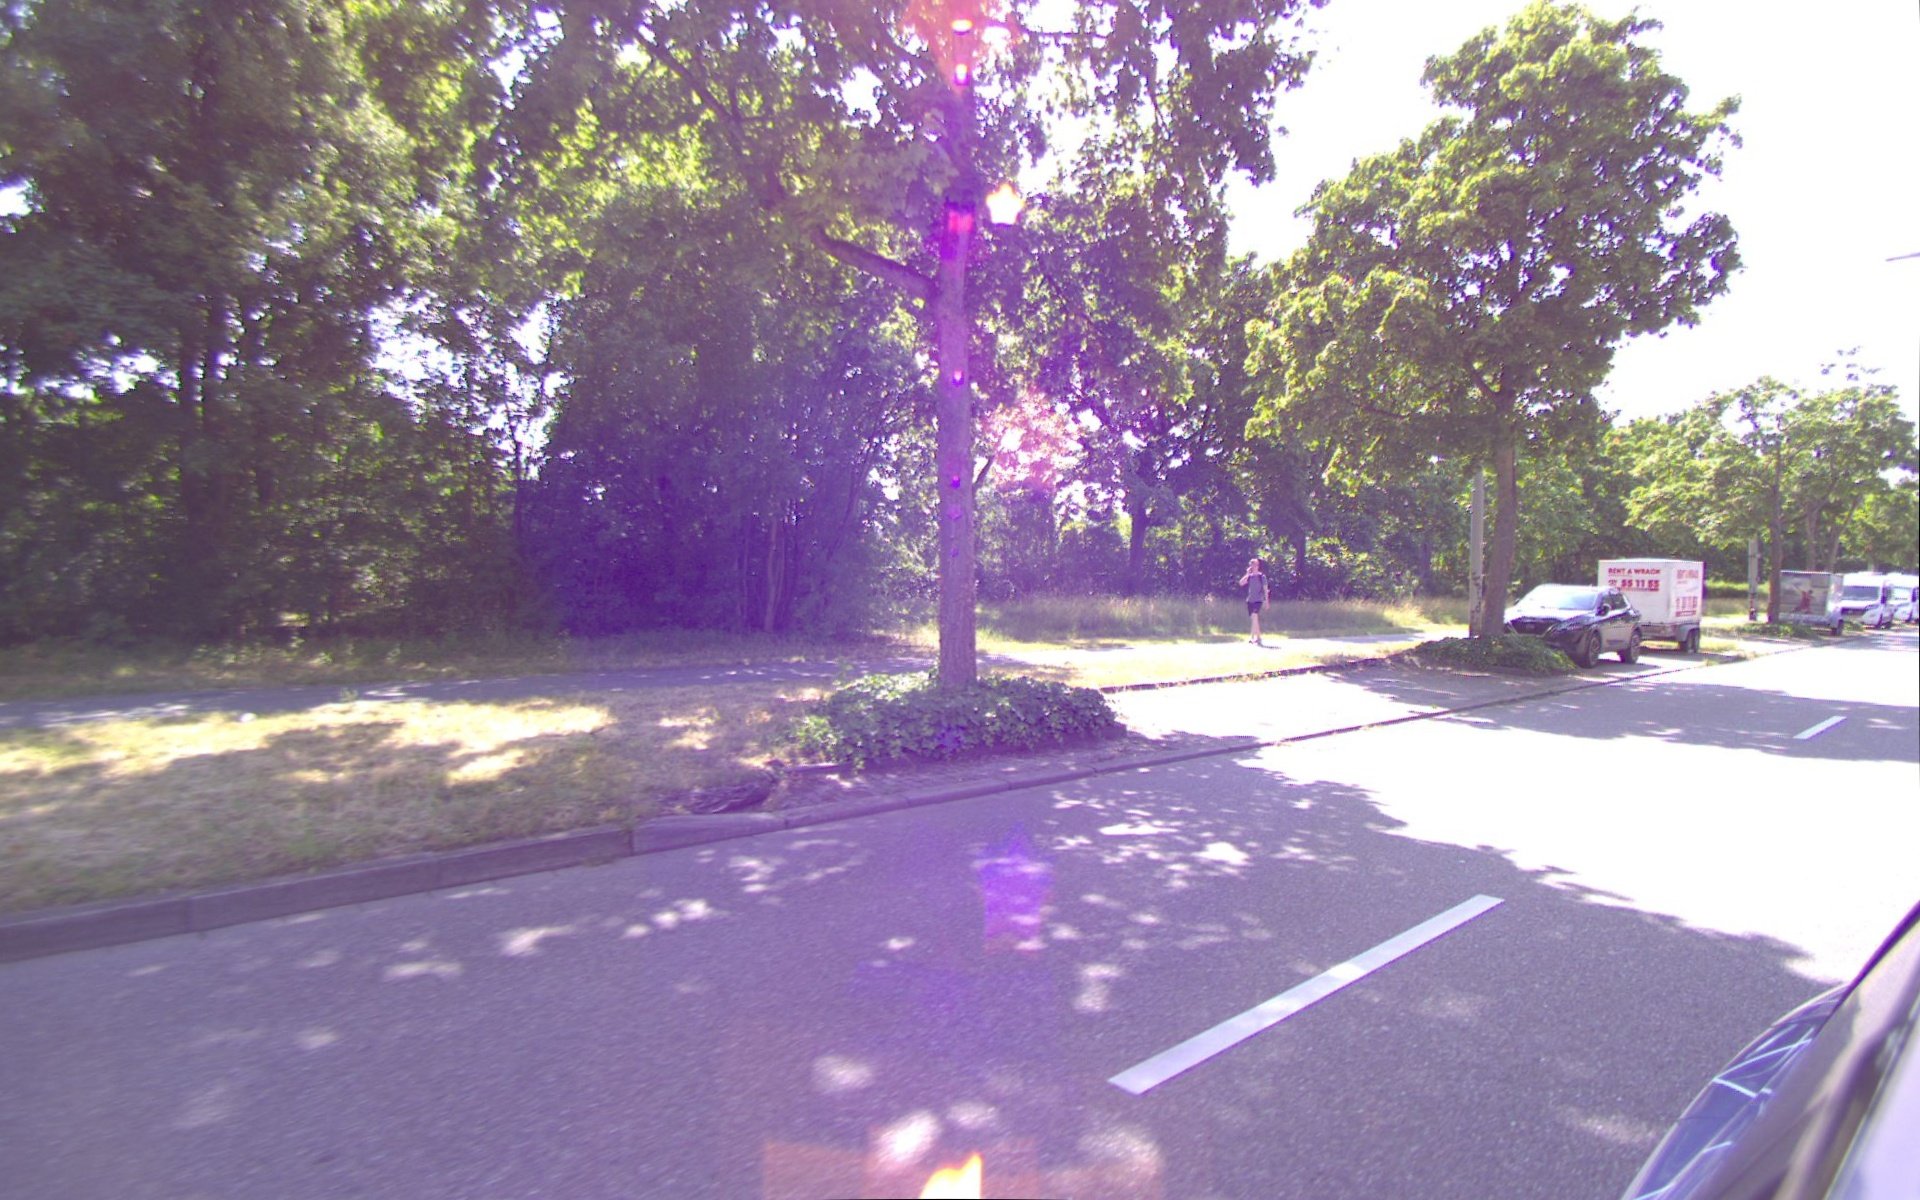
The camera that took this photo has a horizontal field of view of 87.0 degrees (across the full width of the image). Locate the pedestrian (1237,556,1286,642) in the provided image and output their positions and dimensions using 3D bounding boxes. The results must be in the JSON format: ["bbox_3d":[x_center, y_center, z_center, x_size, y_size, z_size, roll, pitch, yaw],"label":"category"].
[{"bbox_3d":[6.456,-0.025,21.705,0.727,1.816,0.718,-1,0,-41],"label":"pedestrian"}]

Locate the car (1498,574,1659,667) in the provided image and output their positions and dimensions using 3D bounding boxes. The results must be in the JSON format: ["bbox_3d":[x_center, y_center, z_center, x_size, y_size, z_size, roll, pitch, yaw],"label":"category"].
[{"bbox_3d":[12.992,0.345,21.164,4.286,1.711,1.594,-1,3,-41],"label":"car"}]

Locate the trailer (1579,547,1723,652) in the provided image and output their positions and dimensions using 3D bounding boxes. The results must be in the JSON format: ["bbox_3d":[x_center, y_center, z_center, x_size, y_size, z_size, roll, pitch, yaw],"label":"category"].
[{"bbox_3d":[17.474,-0.072,25.508,4.528,2.380,1.956,-1,3,-43],"label":"trailer"}]

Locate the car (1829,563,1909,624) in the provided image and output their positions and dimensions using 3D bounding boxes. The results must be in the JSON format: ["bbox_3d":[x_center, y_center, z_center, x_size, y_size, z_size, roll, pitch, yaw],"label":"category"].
[{"bbox_3d":[43.334,-0.322,48.184,6.046,2.729,2.178,-1,0,-42],"label":"car"}]

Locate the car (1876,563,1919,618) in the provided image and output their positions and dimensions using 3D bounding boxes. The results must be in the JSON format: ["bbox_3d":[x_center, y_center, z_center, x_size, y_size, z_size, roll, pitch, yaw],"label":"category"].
[{"bbox_3d":[53.448,-0.577,56.750,6.652,2.836,2.261,-1,5,-42],"label":"car"}]

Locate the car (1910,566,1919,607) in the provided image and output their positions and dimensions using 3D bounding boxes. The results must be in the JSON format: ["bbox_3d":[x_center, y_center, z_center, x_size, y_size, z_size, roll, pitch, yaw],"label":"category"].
[{"bbox_3d":[63.657,-0.874,65.619,6.652,2.571,2.261,-1,4,-42],"label":"car"}]

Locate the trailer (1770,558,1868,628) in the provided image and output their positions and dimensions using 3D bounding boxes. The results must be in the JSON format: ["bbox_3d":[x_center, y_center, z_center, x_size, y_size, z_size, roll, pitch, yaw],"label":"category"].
[{"bbox_3d":[33.000,-0.307,38.834,4.699,2.392,1.999,-1,6,-41],"label":"trailer"}]
